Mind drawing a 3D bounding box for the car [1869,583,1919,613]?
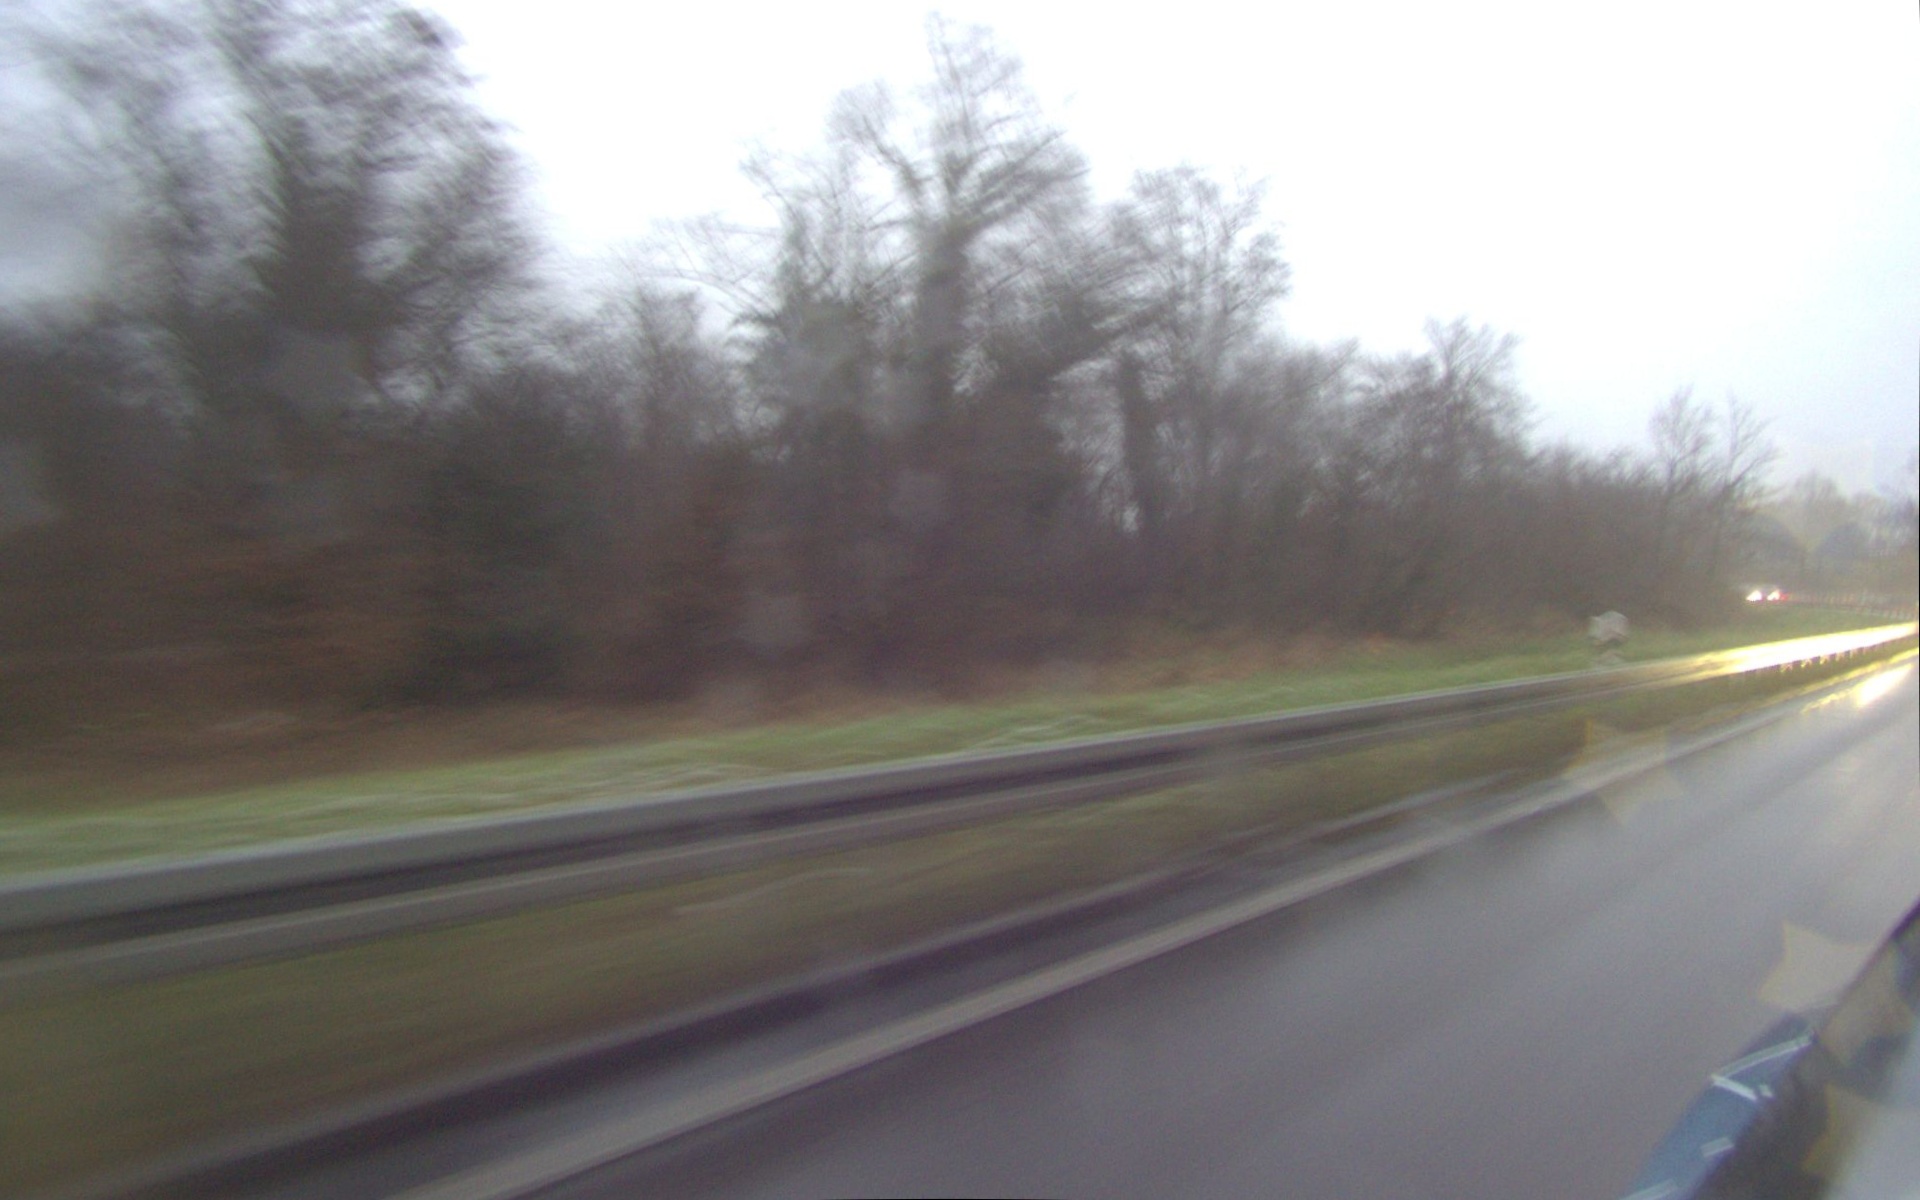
[{"bbox_3d":[67.609,-0.155,72.240,1.966,2.039,4.221,0,1,8],"label":"car"}]
